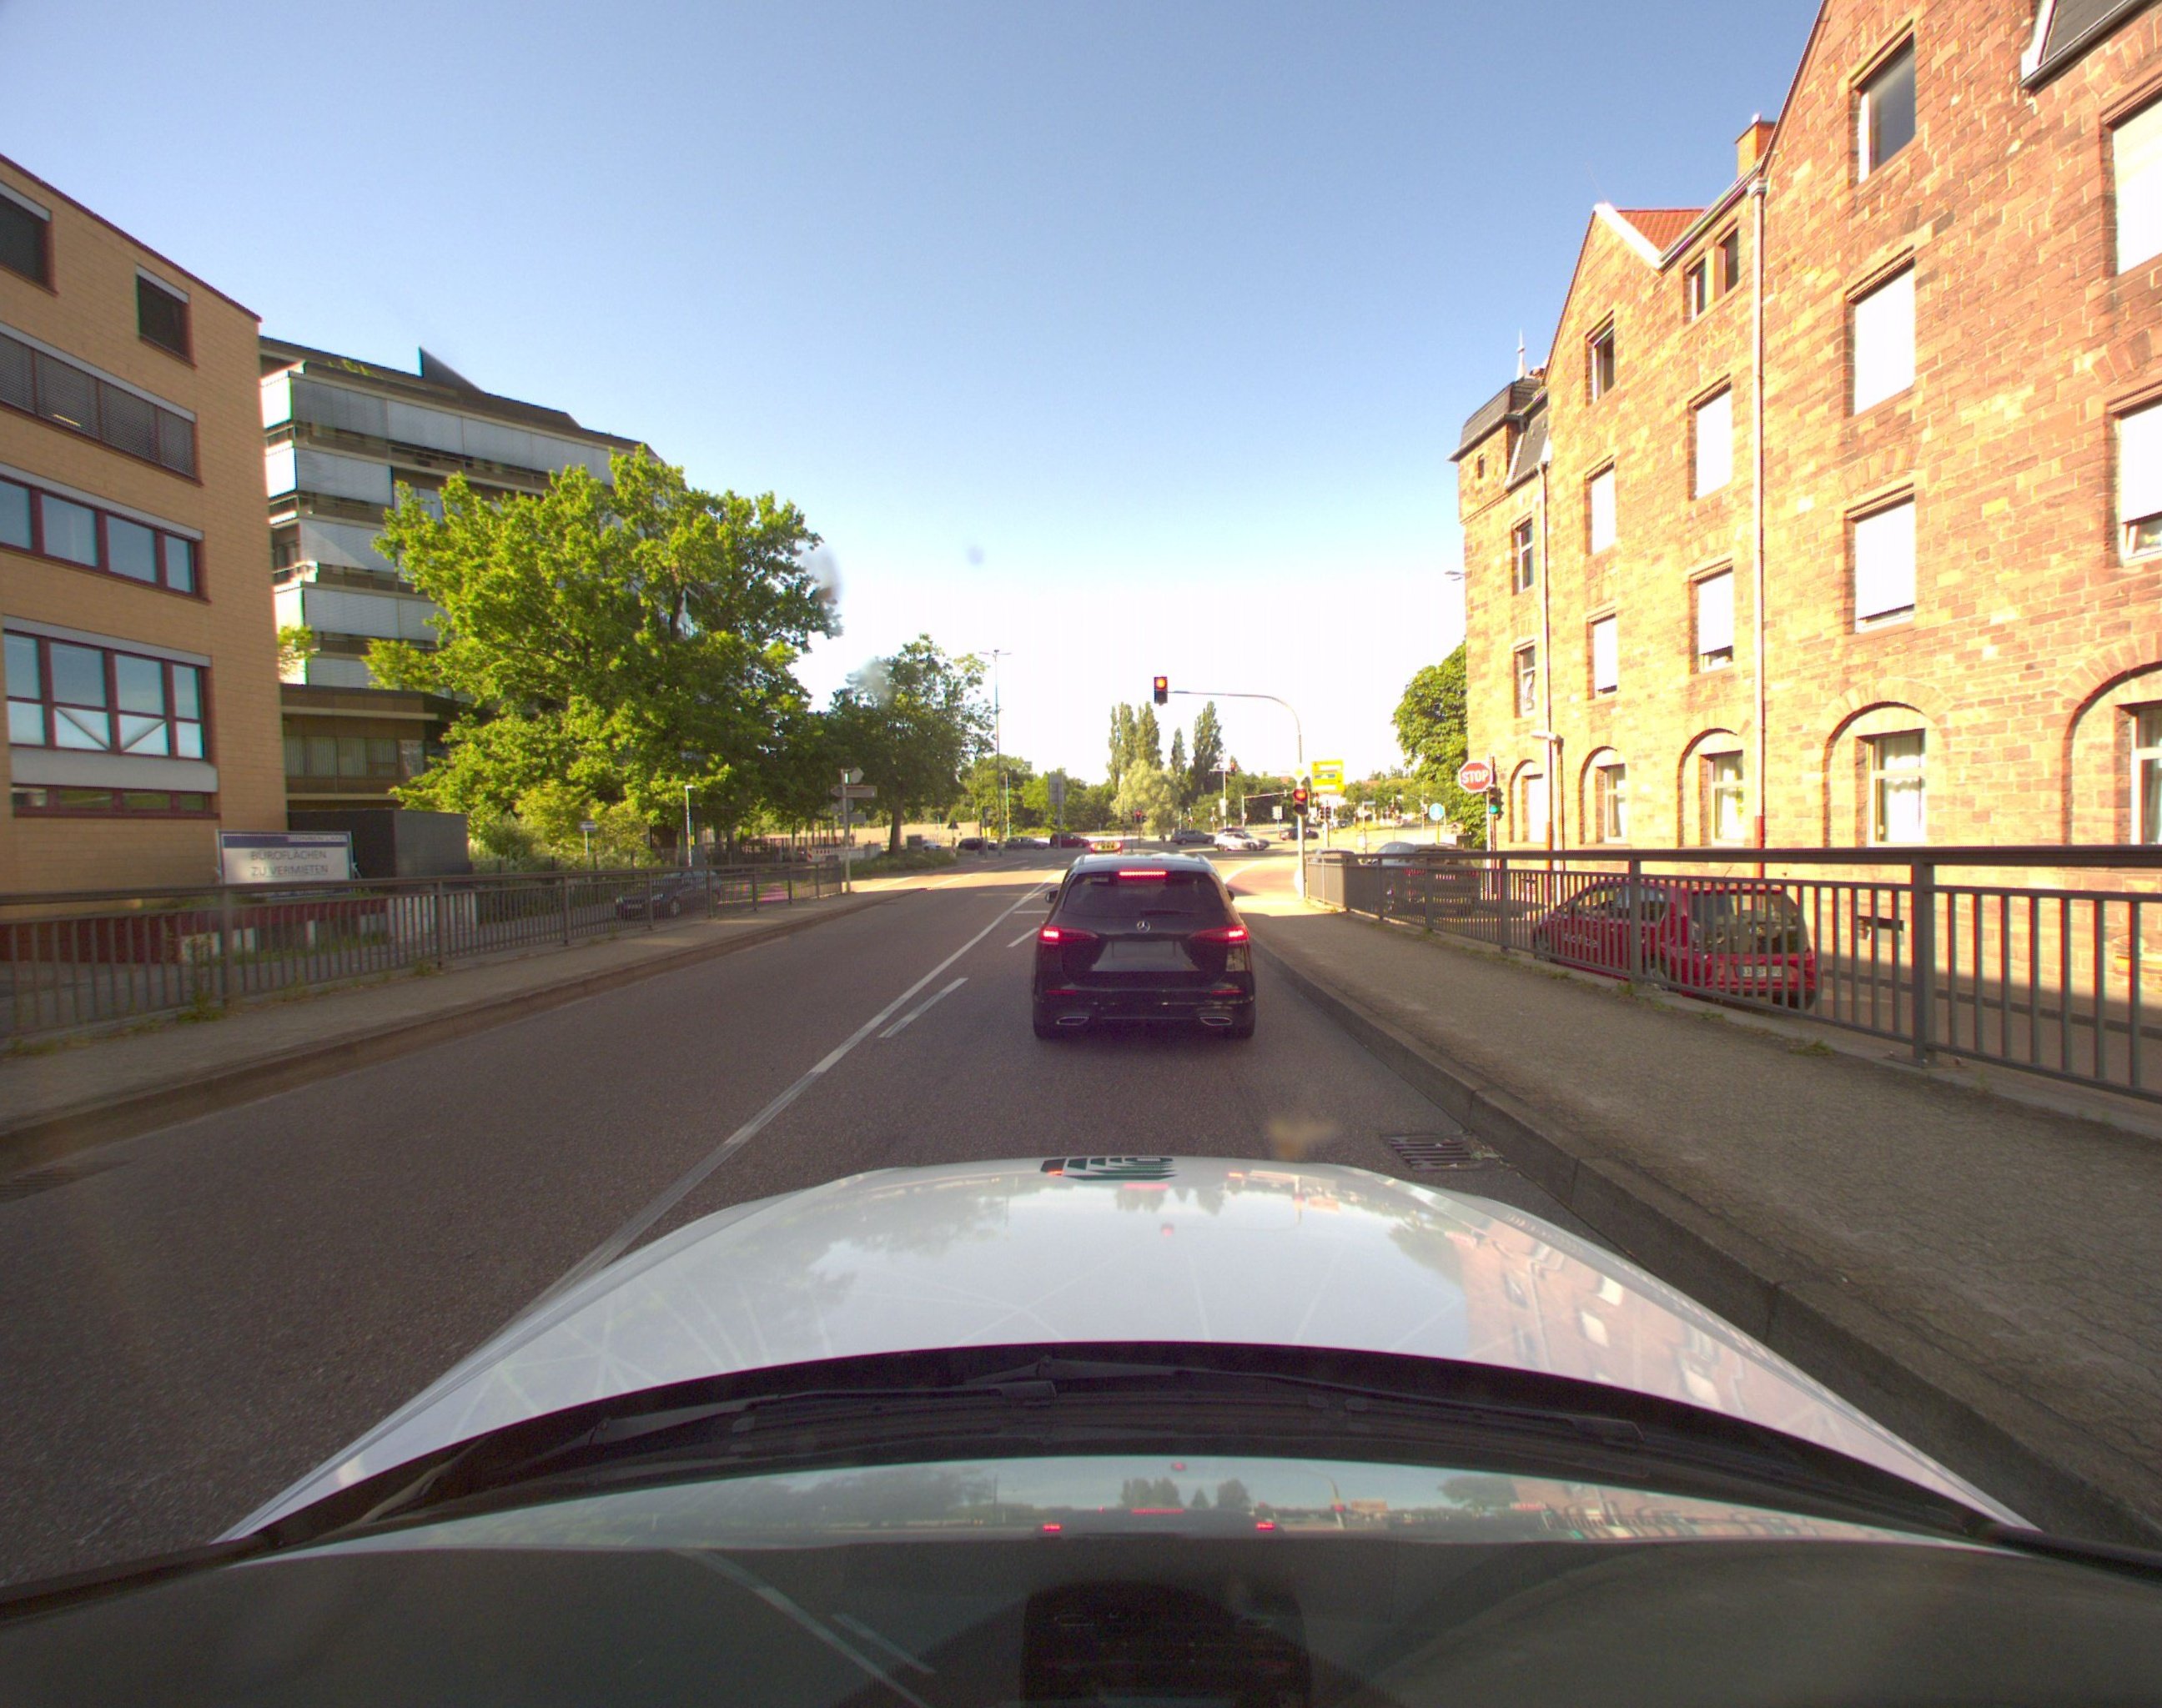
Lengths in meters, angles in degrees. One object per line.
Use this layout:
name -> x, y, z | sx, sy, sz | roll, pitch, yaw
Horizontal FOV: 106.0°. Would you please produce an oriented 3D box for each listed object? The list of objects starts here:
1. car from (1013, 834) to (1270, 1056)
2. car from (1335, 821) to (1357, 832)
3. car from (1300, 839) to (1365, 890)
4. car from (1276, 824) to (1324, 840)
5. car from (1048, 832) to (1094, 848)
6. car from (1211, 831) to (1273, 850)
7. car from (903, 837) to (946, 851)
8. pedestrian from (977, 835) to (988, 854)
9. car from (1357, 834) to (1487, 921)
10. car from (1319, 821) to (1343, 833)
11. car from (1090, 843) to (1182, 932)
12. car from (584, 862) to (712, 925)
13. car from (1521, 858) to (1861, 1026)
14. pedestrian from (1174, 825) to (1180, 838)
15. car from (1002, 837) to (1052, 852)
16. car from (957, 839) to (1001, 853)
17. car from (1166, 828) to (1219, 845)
car -> 0.505, 0.646, 7.957 | 1.871, 1.613, 4.002 | 0, 1, 2
car -> 38.780, -4.026, 119.183 | 1.860, 1.578, 4.026 | -1, 2, 38
car -> 9.310, 0.342, 30.401 | 1.711, 1.603, 4.309 | 0, 3, 9
car -> 22.551, -2.282, 84.007 | 4.282, 1.441, 1.993 | -3, 2, -11
car -> -1.003, -1.493, 85.465 | 4.510, 1.455, 2.006 | -2, 2, 9
car -> 12.405, -1.033, 62.857 | 4.176, 1.294, 2.013 | -1, 3, 37
car -> -16.819, -1.059, 87.582 | 4.258, 1.365, 2.013 | -1, 3, 33
pedestrian -> -8.293, -0.794, 68.398 | 0.700, 1.525, 0.746 | -1, 1, 12
car -> 8.497, 0.489, 20.726 | 1.714, 1.811, 4.303 | -2, 3, 4
car -> 35.082, -3.776, 114.110 | 1.860, 1.578, 4.026 | -1, 2, 38
car -> 1.140, 0.603, 16.835 | 1.632, 1.529, 3.478 | -3, 1, 4
car -> -13.947, 1.201, 26.509 | 1.844, 1.692, 4.002 | -2, 2, 2
car -> 7.265, 0.926, 10.192 | 1.715, 1.521, 3.488 | -2, 3, 2
pedestrian -> 12.153, -2.843, 103.158 | 0.446, 1.585, 0.504 | -2, 1, 42
car -> -5.420, -0.936, 81.703 | 4.545, 1.294, 2.009 | -2, 2, 15
car -> -11.063, -0.854, 88.436 | 4.535, 1.294, 1.899 | -1, 3, 33
car -> 11.171, -1.736, 81.766 | 4.805, 1.441, 1.995 | -3, 2, -9
